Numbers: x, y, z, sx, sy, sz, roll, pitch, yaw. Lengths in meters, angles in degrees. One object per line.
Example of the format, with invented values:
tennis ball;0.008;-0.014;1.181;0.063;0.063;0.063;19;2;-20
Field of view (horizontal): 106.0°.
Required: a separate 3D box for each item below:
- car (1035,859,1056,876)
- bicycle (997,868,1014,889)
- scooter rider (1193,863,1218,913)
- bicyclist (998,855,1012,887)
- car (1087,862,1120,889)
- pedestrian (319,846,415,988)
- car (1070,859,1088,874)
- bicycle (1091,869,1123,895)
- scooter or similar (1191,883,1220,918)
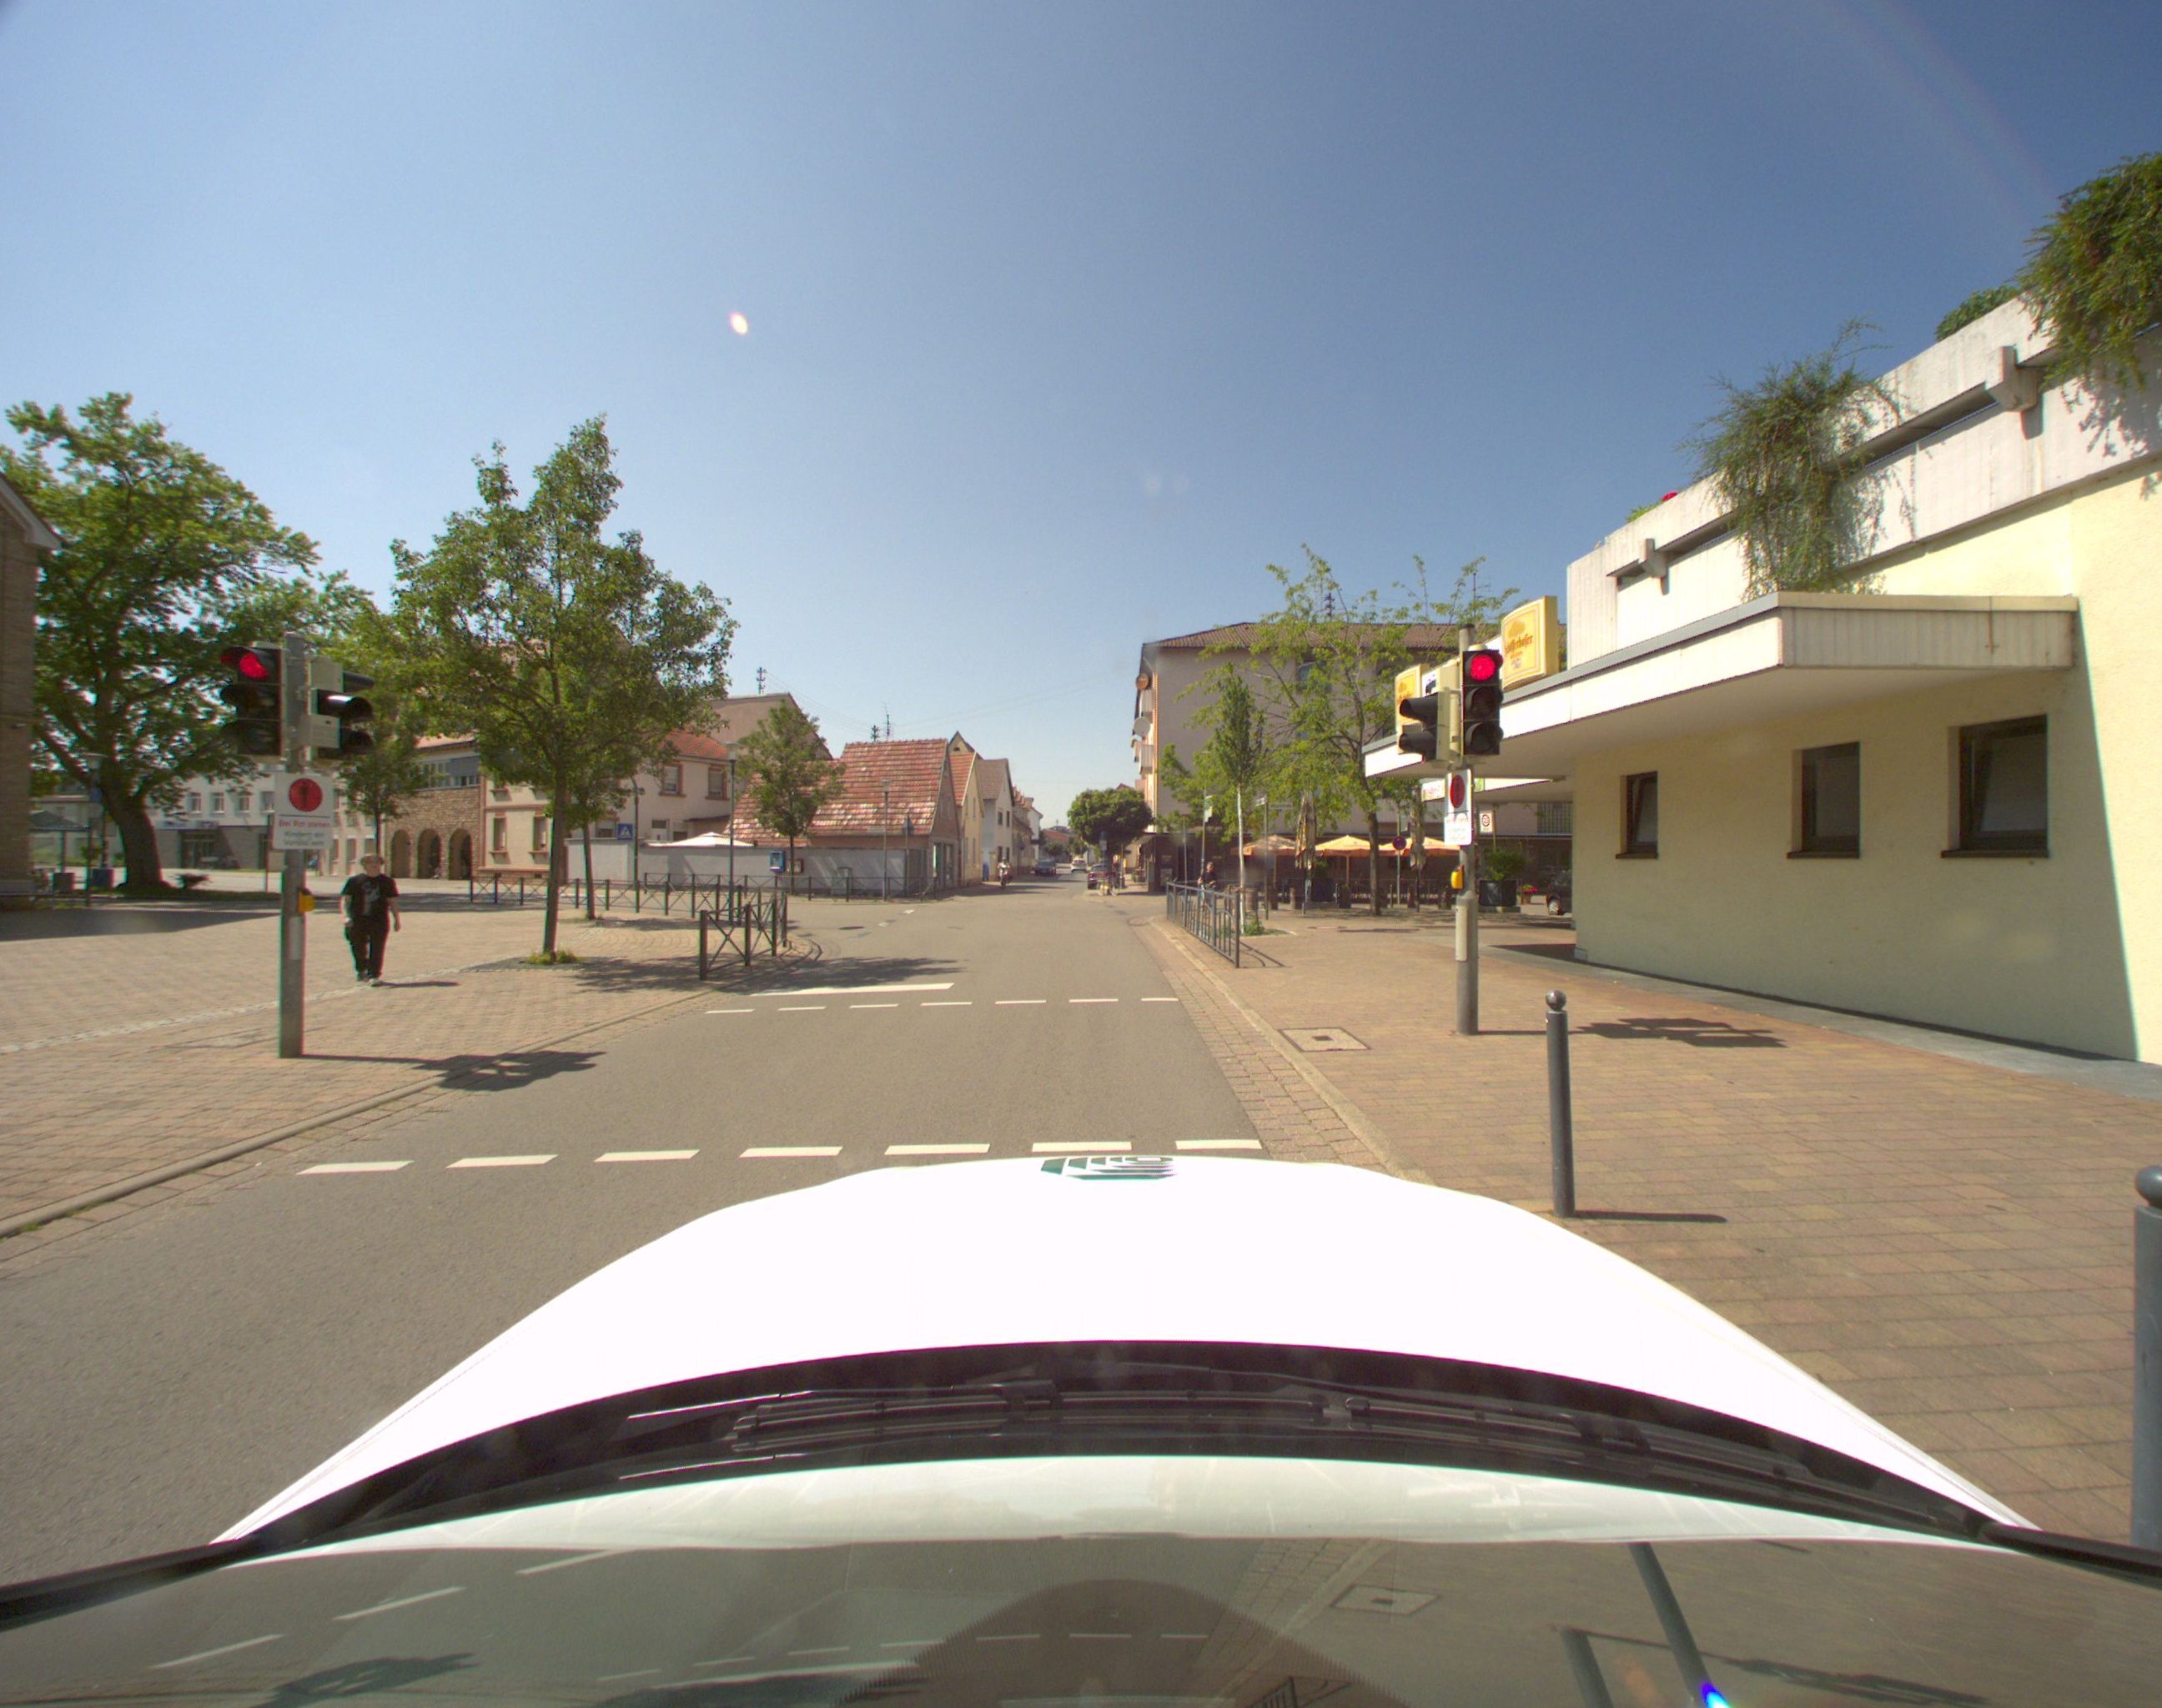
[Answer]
car;-3.370;1.292;78.452;1.707;1.517;3.789;0;-1;3
bicycle;-4.095;1.314;44.115;0.671;1.094;1.896;-1;-1;2
scooter rider;3.236;0.885;21.233;0.517;1.286;0.415;0;-1;-19
bicyclist;-4.098;0.908;44.070;0.666;1.691;0.762;-1;-1;1
car;1.357;1.223;47.508;1.797;1.501;4.003;0;0;3
pedestrian;-8.824;0.750;10.101;0.818;1.655;0.841;2;-2;-40
car;-0.191;1.434;92.933;1.827;1.652;4.002;0;-1;2
bicycle;1.245;1.311;38.729;0.530;1.193;1.655;1;-1;-42
scooter or similar;3.240;1.201;21.206;0.380;0.873;0.885;0;-1;-18
